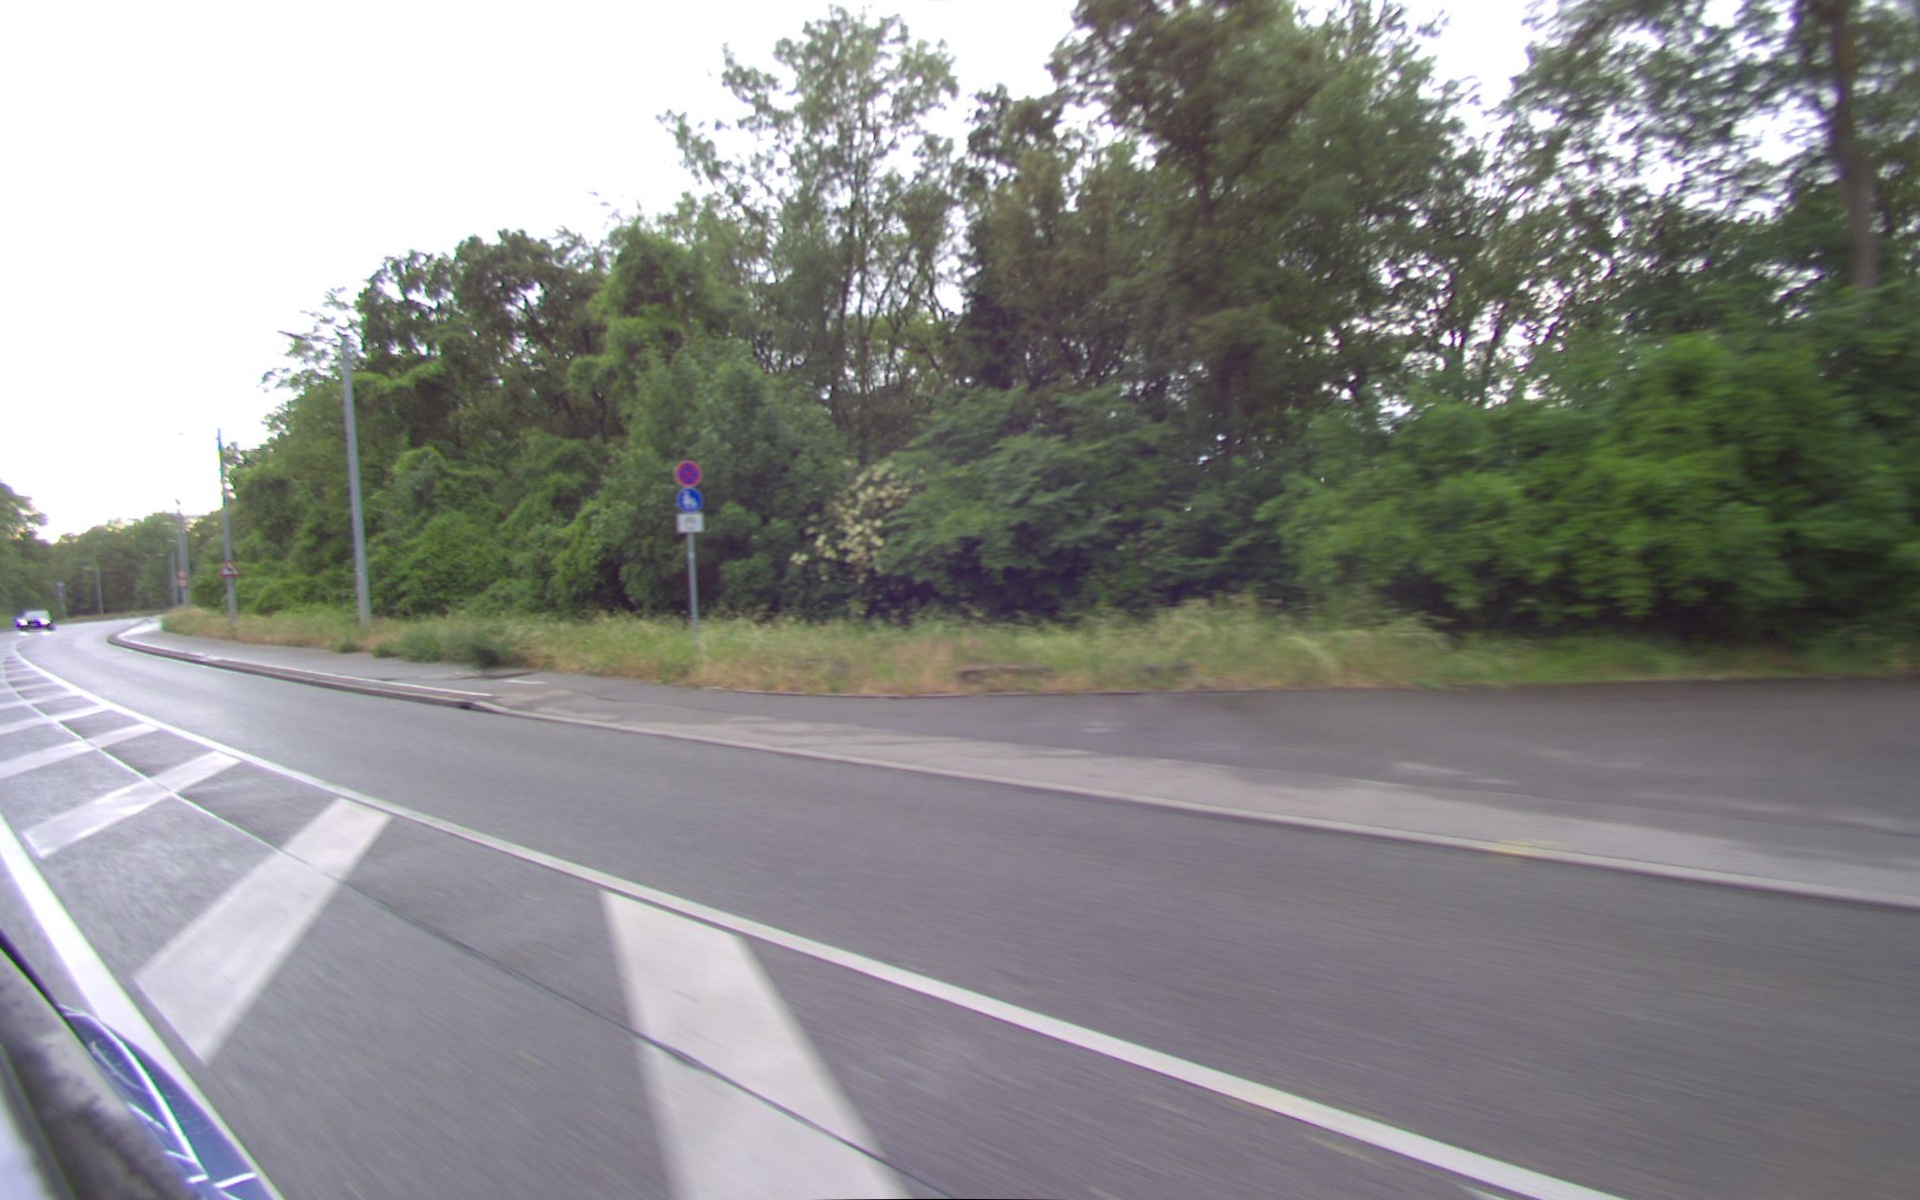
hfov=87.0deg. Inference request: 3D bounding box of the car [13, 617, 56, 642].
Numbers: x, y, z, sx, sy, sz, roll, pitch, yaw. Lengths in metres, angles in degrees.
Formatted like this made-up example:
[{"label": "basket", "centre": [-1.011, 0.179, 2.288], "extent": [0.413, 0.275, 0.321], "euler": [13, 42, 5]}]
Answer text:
[{"label": "car", "centre": [-67.294, 2.095, 73.617], "extent": [1.968, 1.696, 4.008], "euler": [-2, 0, -38]}]
